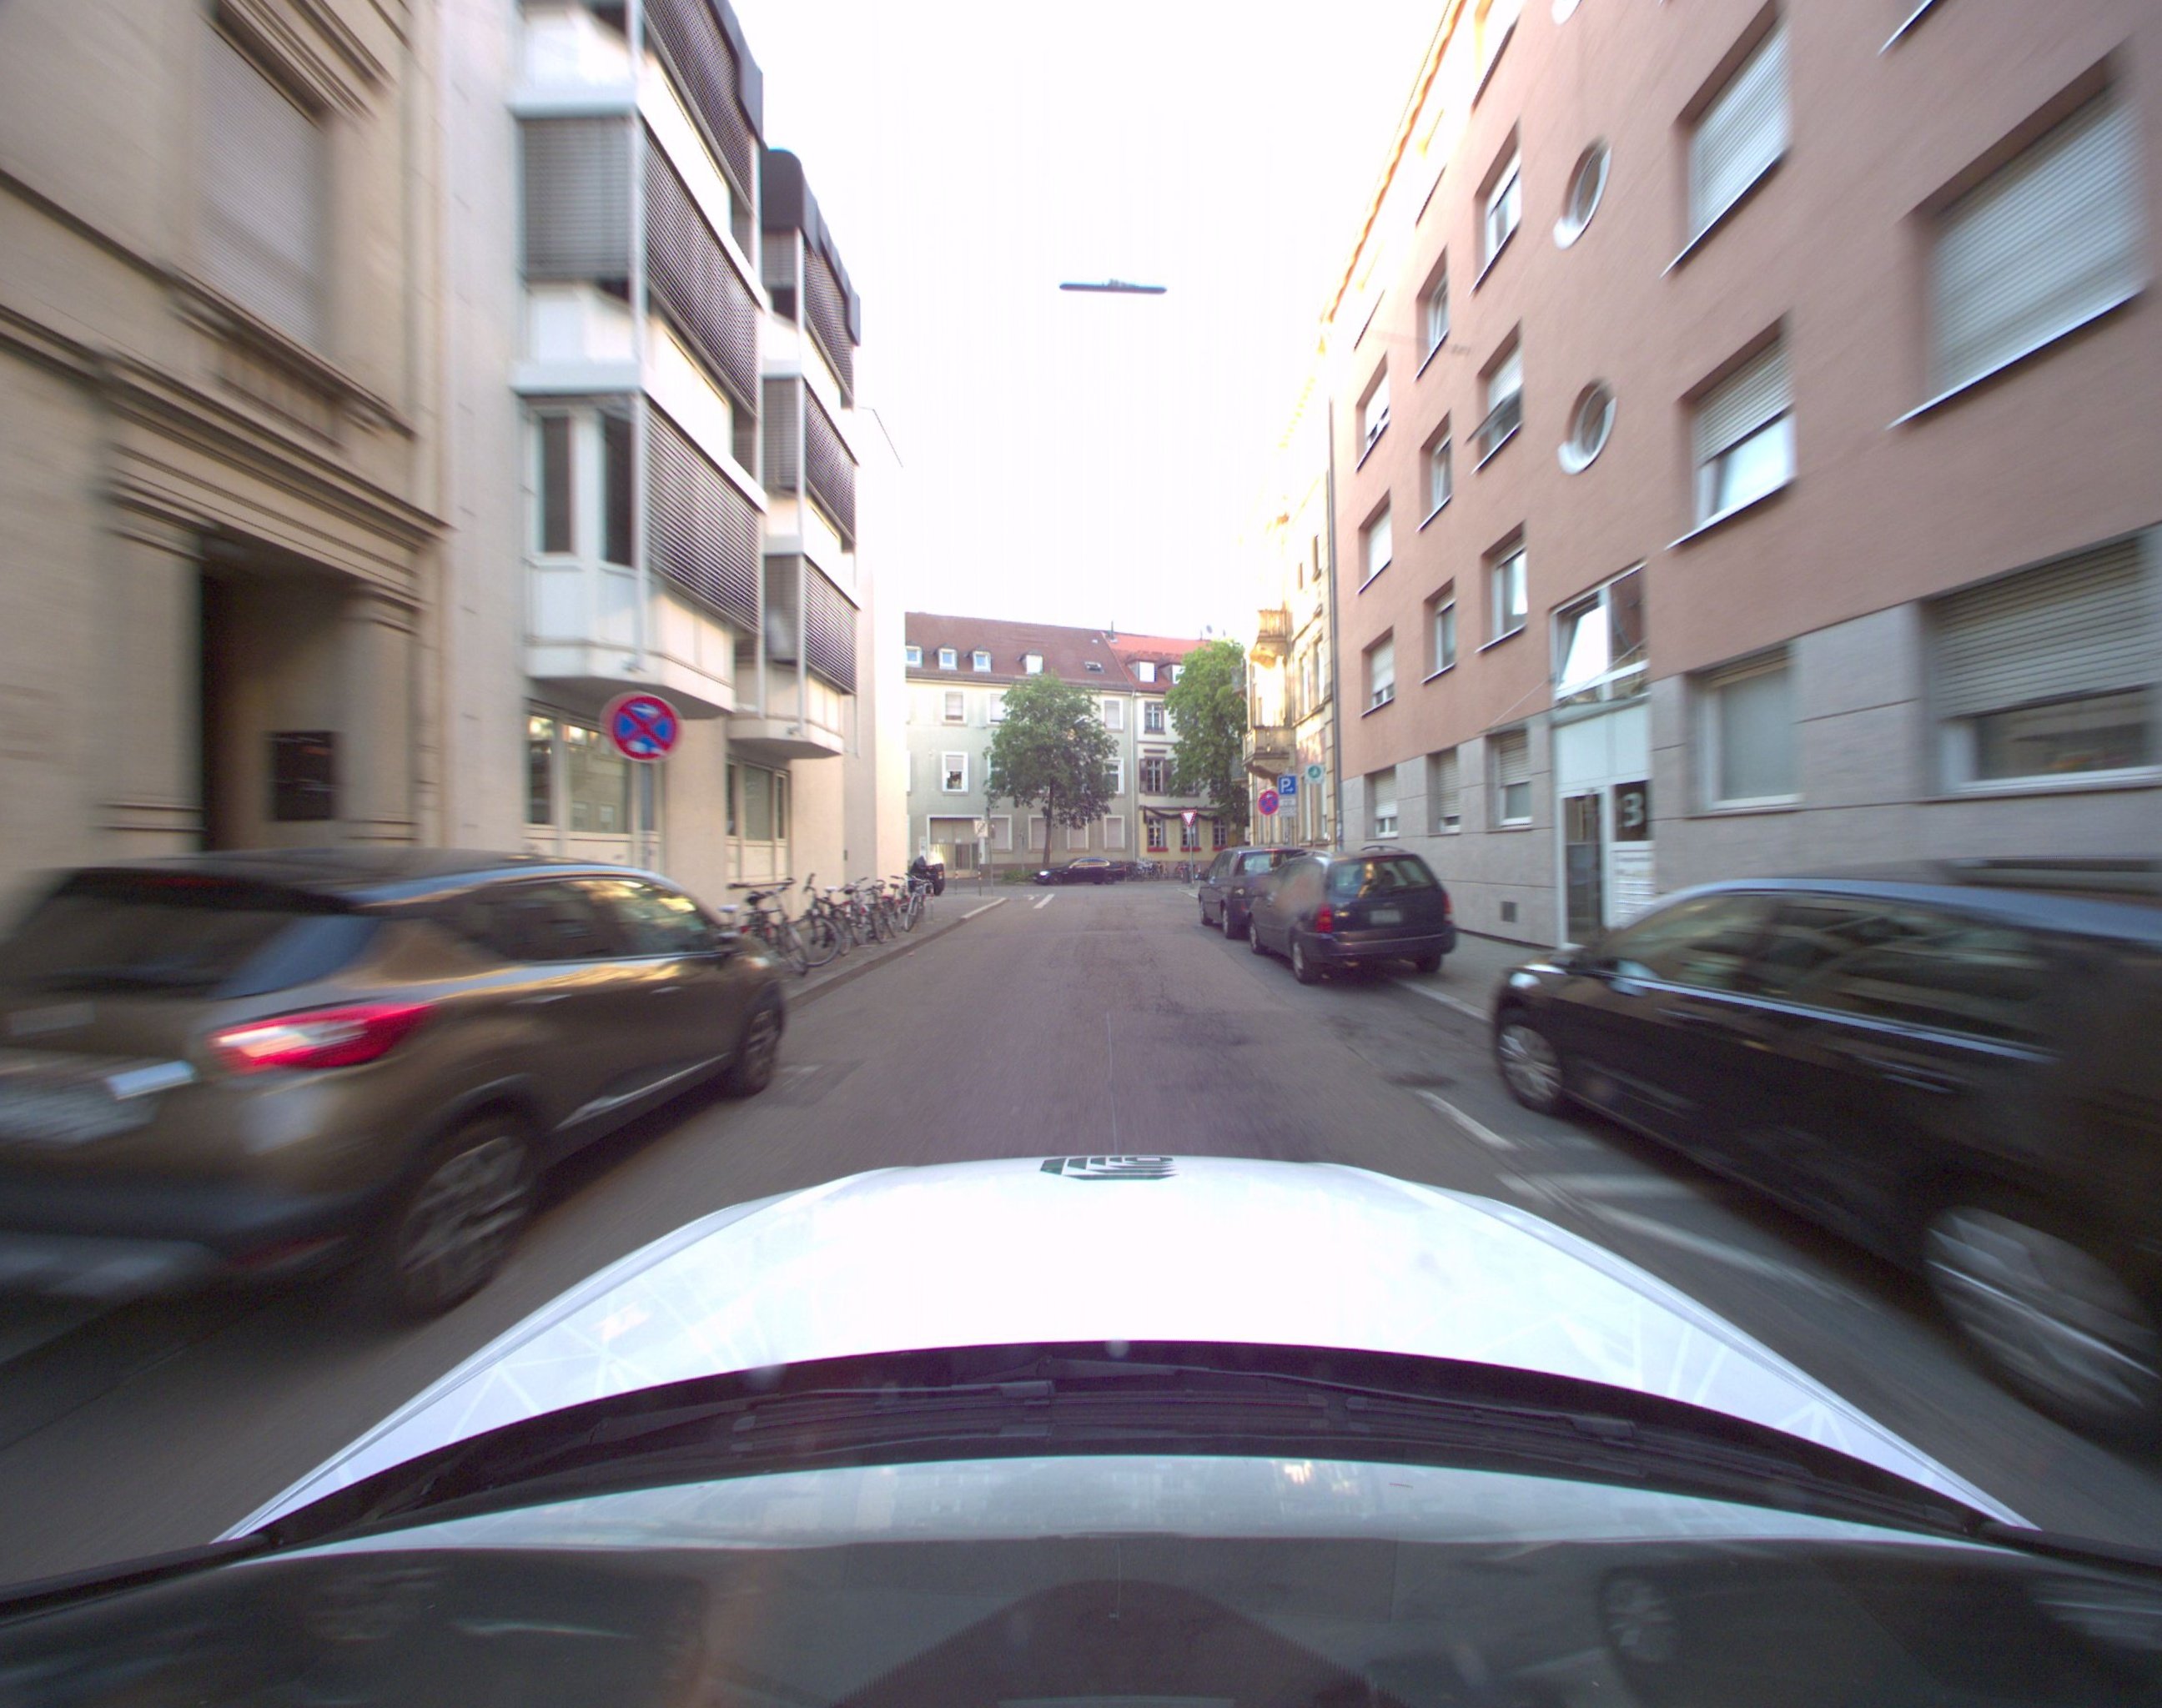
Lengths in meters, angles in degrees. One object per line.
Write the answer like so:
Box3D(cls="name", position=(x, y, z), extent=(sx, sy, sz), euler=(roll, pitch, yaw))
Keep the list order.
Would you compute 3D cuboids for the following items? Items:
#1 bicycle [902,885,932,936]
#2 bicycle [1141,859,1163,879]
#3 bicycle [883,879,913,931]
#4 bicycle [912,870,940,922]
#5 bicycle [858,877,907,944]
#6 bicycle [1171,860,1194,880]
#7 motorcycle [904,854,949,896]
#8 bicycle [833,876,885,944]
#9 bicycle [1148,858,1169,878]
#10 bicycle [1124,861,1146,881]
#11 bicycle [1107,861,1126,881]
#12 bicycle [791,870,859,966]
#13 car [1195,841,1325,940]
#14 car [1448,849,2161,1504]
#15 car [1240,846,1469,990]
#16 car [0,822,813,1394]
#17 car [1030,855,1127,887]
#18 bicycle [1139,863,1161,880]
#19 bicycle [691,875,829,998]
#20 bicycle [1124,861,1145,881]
Box3D(cls="bicycle", position=(-3.354, 1.131, 16.766), extent=(0.306, 0.932, 1.812), euler=(-1, 0, -2))
Box3D(cls="bicycle", position=(4.248, 0.890, 49.009), extent=(0.421, 1.145, 2.027), euler=(-1, 0, -21))
Box3D(cls="bicycle", position=(-3.660, 1.001, 16.365), extent=(0.306, 0.932, 1.810), euler=(-1, 0, -4))
Box3D(cls="bicycle", position=(-3.535, 0.930, 18.658), extent=(0.399, 1.102, 1.810), euler=(-1, 0, -4))
Box3D(cls="bicycle", position=(-3.455, 0.956, 14.299), extent=(0.305, 1.042, 1.814), euler=(-2, 0, 3))
Box3D(cls="bicycle", position=(6.038, 0.935, 48.698), extent=(0.421, 1.145, 2.027), euler=(-1, 0, -21))
Box3D(cls="motorcycle", position=(-5.988, 0.814, 31.440), extent=(0.673, 1.555, 2.136), euler=(-1, -1, -41))
Box3D(cls="bicycle", position=(-3.805, 0.936, 14.059), extent=(0.305, 1.042, 1.814), euler=(-1, 0, 3))
Box3D(cls="bicycle", position=(4.683, 0.855, 49.292), extent=(0.421, 1.145, 2.027), euler=(-1, 0, -21))
Box3D(cls="bicycle", position=(3.082, 0.966, 46.629), extent=(0.446, 1.145, 2.028), euler=(-1, 0, -20))
Box3D(cls="bicycle", position=(2.065, 0.989, 48.096), extent=(0.446, 1.145, 2.030), euler=(-1, 0, -17))
Box3D(cls="bicycle", position=(-3.598, 0.860, 11.578), extent=(0.305, 1.222, 1.814), euler=(-1, 0, 3))
Box3D(cls="car", position=(3.287, 0.618, 15.689), extent=(1.683, 1.625, 4.055), euler=(-1, 0, 1))
Box3D(cls="car", position=(3.317, 0.728, 3.502), extent=(1.683, 1.458, 4.133), euler=(-1, 0, 1))
Box3D(cls="car", position=(3.338, 0.686, 10.840), extent=(1.683, 1.514, 4.284), euler=(-1, 0, 1))
Box3D(cls="car", position=(-2.994, 0.718, 4.307), extent=(1.785, 1.576, 4.070), euler=(-1, 0, 0))
Box3D(cls="car", position=(-0.146, 0.853, 41.925), extent=(4.668, 1.450, 1.756), euler=(-2, 0, -20))
Box3D(cls="bicycle", position=(4.032, 1.019, 47.609), extent=(0.421, 1.004, 2.027), euler=(-1, 0, -21))
Box3D(cls="bicycle", position=(-3.645, 0.880, 9.498), extent=(0.593, 1.187, 2.267), euler=(-2, 0, 2))
Box3D(cls="bicycle", position=(3.165, 0.999, 48.388), extent=(0.421, 1.145, 2.027), euler=(-1, 0, -21))
